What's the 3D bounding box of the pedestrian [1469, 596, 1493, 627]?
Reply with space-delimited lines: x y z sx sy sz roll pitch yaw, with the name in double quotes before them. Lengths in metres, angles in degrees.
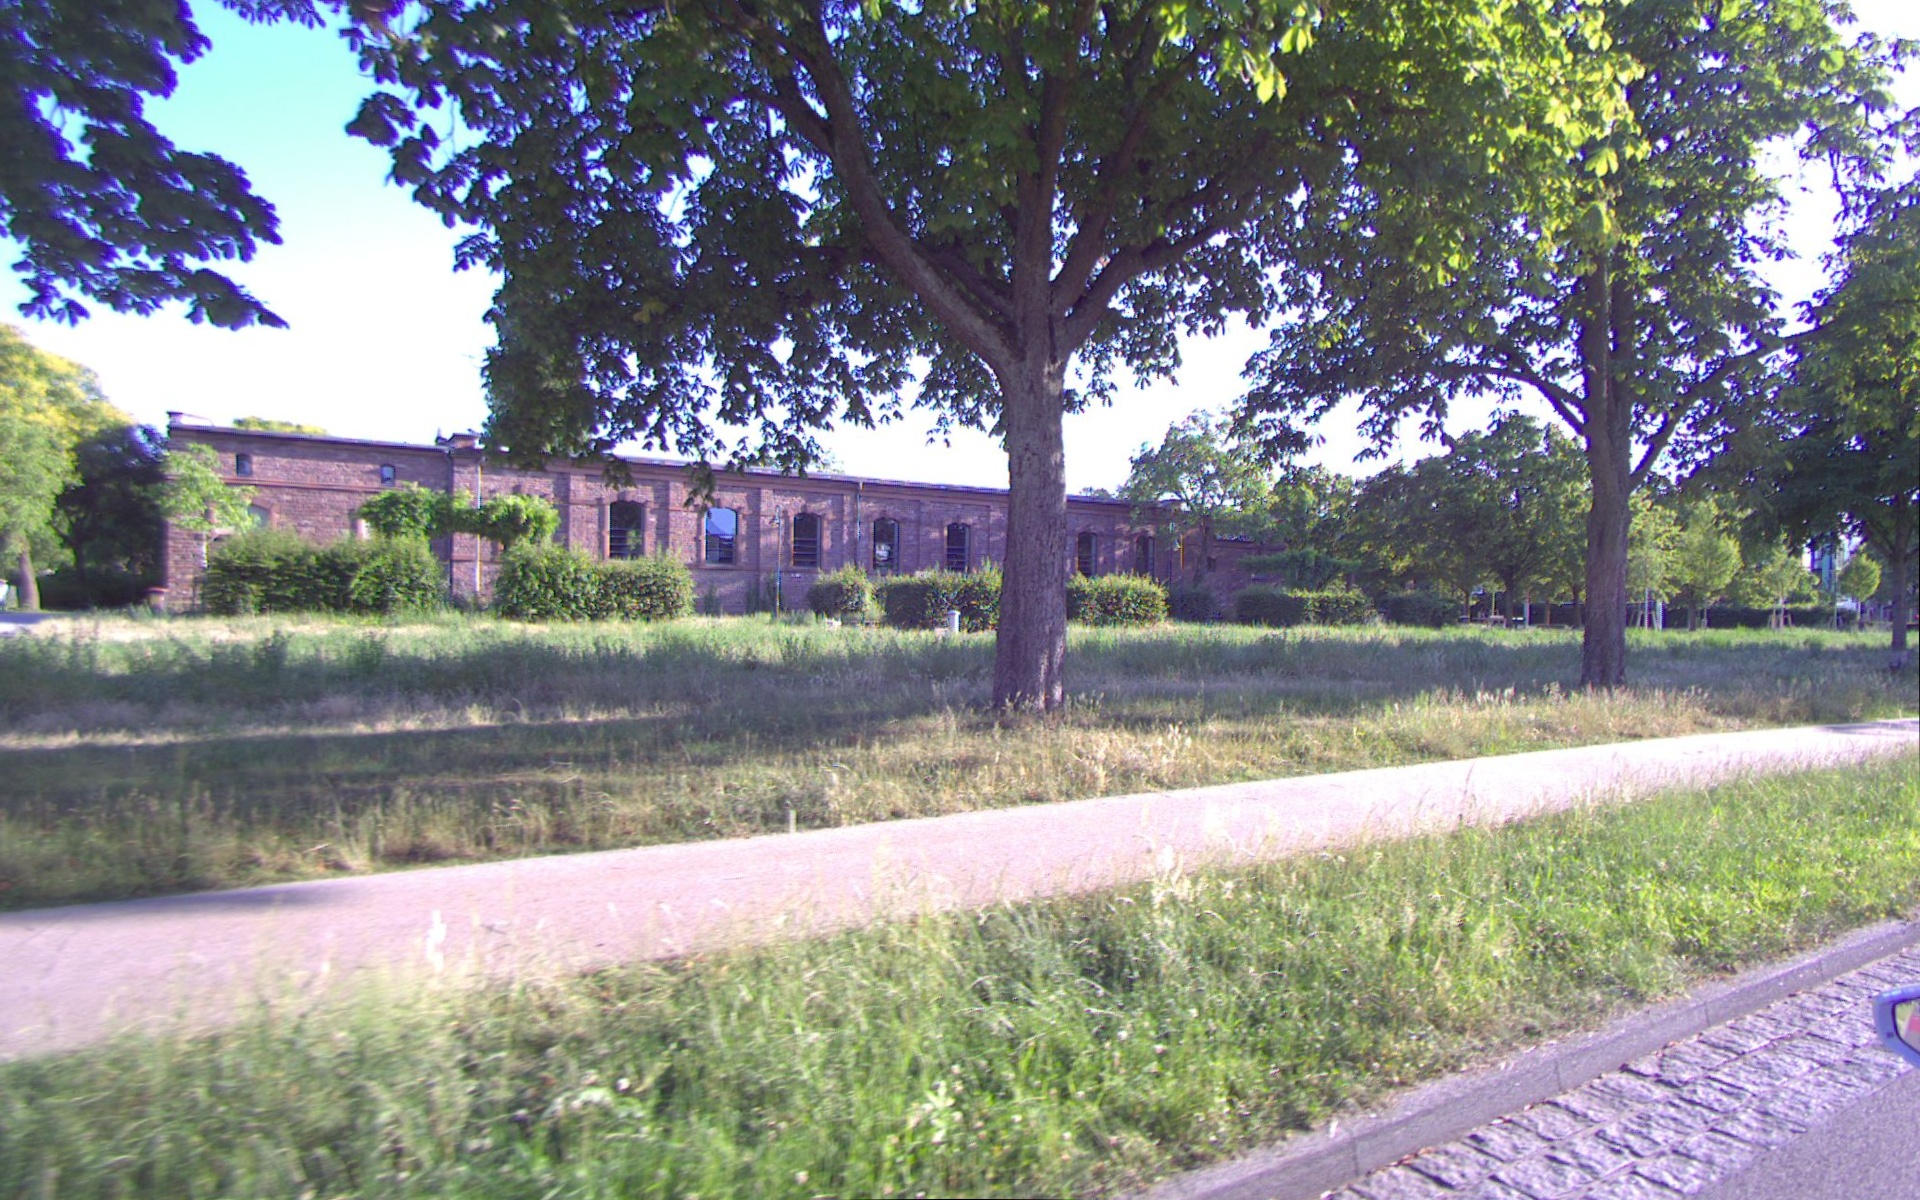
"pedestrian" 33.293 0.740 64.158 0.787 1.906 1.044 1 1 -27
